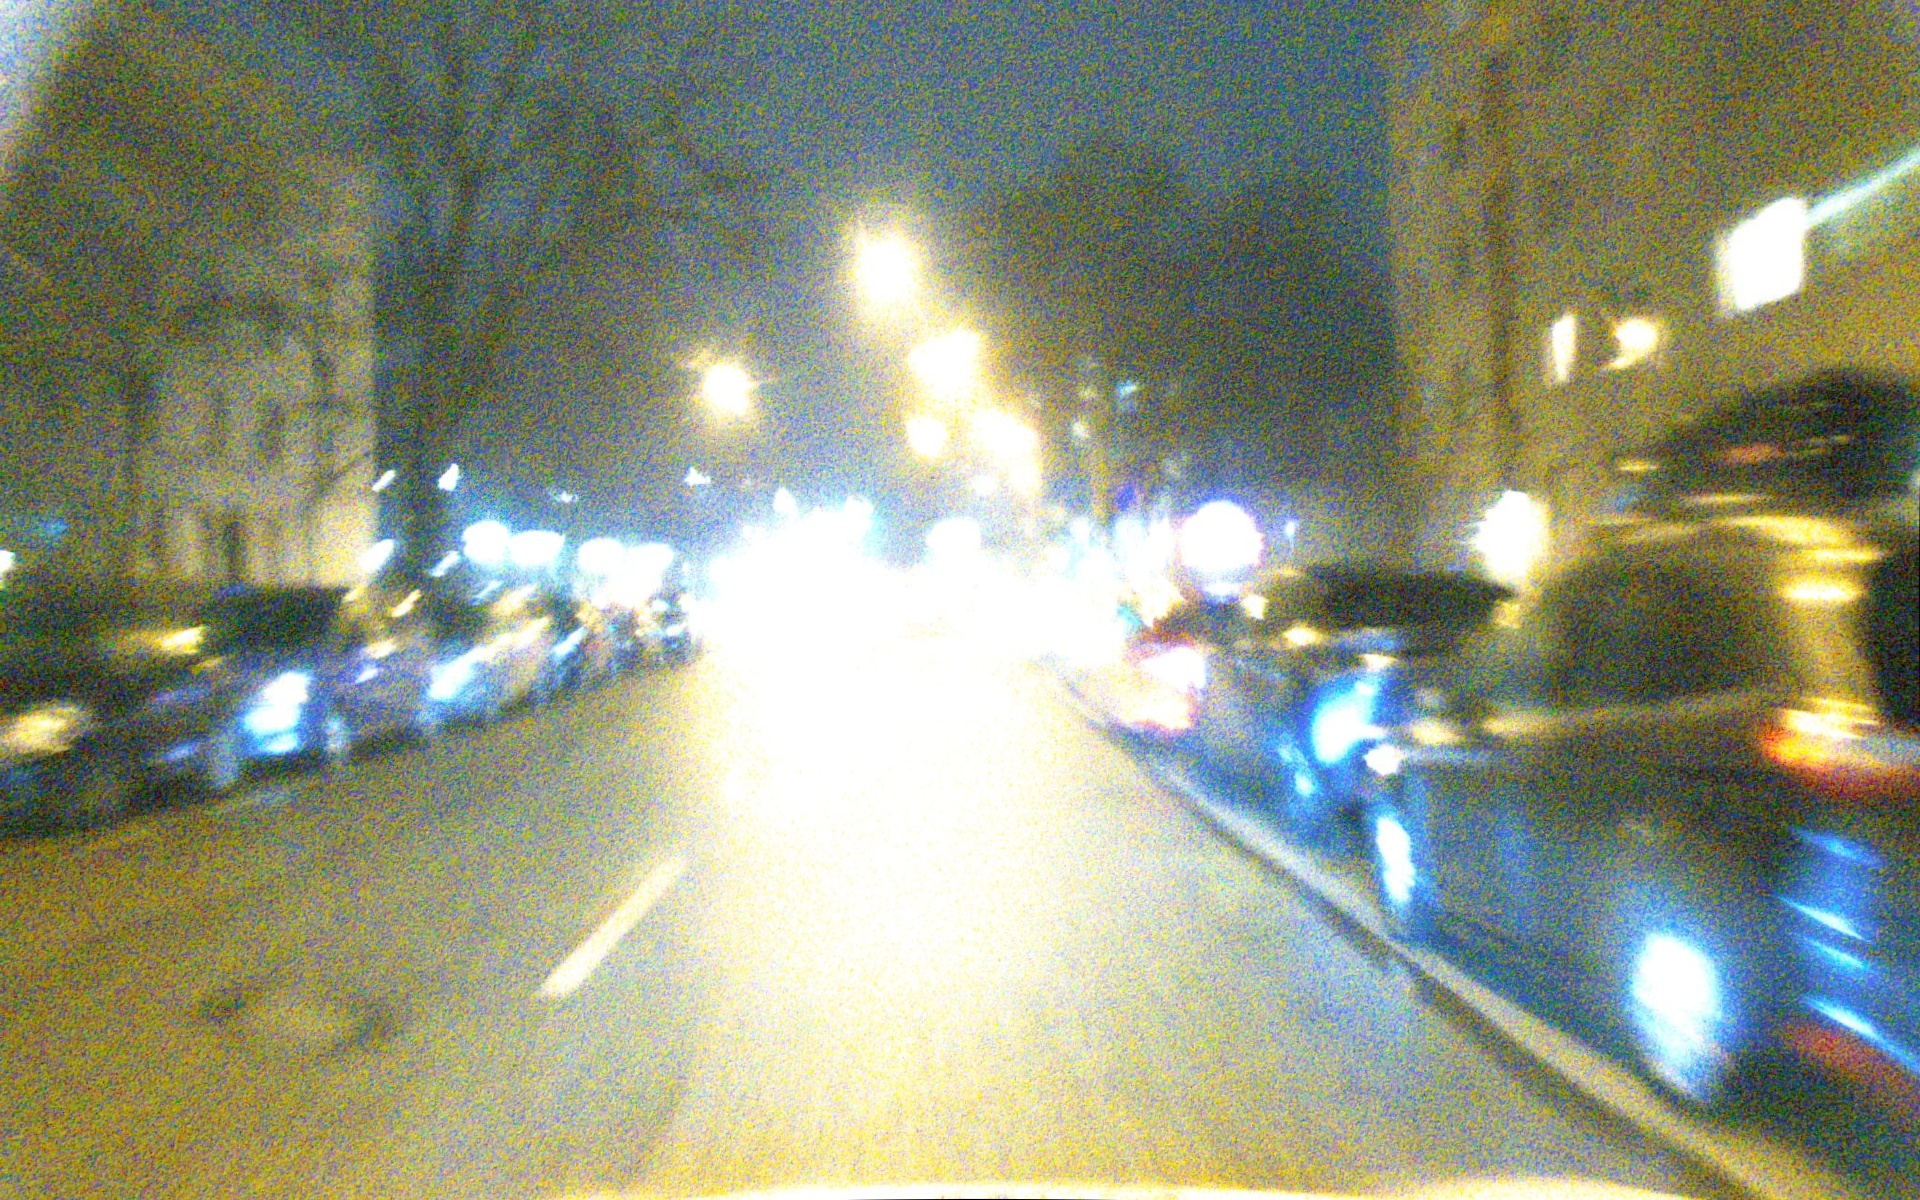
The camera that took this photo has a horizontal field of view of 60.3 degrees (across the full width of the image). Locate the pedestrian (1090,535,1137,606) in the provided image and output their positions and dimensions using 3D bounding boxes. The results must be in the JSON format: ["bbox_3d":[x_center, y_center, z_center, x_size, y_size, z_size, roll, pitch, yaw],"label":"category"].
[{"bbox_3d":[3.551,-0.689,38.311,1.028,1.602,1.019,-1,1,3],"label":"pedestrian"}]

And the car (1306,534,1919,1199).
[{"bbox_3d":[2.780,0.576,6.024,1.763,1.557,5.050,-3,1,-2],"label":"car"}]

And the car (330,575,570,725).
[{"bbox_3d":[-6.082,0.516,20.221,1.566,1.512,4.274,-4,1,-1],"label":"car"}]

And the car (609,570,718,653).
[{"bbox_3d":[-6.460,0.204,36.425,1.566,1.591,4.379,-4,1,-1],"label":"car"}]

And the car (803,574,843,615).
[{"bbox_3d":[-7.524,-0.354,90.483,1.995,1.987,5.195,-4,2,-5],"label":"car"}]

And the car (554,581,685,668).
[{"bbox_3d":[-6.394,0.405,31.474,1.566,1.397,4.353,-4,1,-1],"label":"car"}]

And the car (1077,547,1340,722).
[{"bbox_3d":[2.343,0.266,16.767,1.786,1.446,4.487,-3,1,-2],"label":"car"}]

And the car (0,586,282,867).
[{"bbox_3d":[-5.950,0.712,10.682,1.567,1.456,4.002,-4,1,-3],"label":"car"}]

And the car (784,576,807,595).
[{"bbox_3d":[-14.199,-1.283,142.532,1.817,1.525,4.762,-2,2,-8],"label":"car"}]

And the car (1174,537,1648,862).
[{"bbox_3d":[2.743,0.500,11.201,1.786,1.666,4.487,-3,1,-2],"label":"car"}]

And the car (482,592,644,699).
[{"bbox_3d":[-6.236,0.662,26.378,1.566,1.397,4.067,-4,1,-1],"label":"car"}]

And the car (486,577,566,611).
[{"bbox_3d":[-19.887,-0.288,75.899,1.677,1.456,3.921,-1,1,17],"label":"car"}]

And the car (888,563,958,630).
[{"bbox_3d":[-1.199,-0.128,53.120,2.124,2.006,4.301,-1,1,-2],"label":"car"}]

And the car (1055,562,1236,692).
[{"bbox_3d":[2.490,0.298,23.354,1.786,1.557,4.781,-3,1,-2],"label":"car"}]

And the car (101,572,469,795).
[{"bbox_3d":[-5.942,0.618,15.141,1.566,1.632,4.258,-4,1,-1],"label":"car"}]

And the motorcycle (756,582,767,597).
[{"bbox_3d":[-16.618,-0.905,138.535,0.687,1.158,2.176,-2,1,0],"label":"motorcycle"}]

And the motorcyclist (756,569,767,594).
[{"bbox_3d":[-16.631,-1.575,138.459,0.679,2.048,0.983,-2,1,0],"label":"motorcyclist"}]
